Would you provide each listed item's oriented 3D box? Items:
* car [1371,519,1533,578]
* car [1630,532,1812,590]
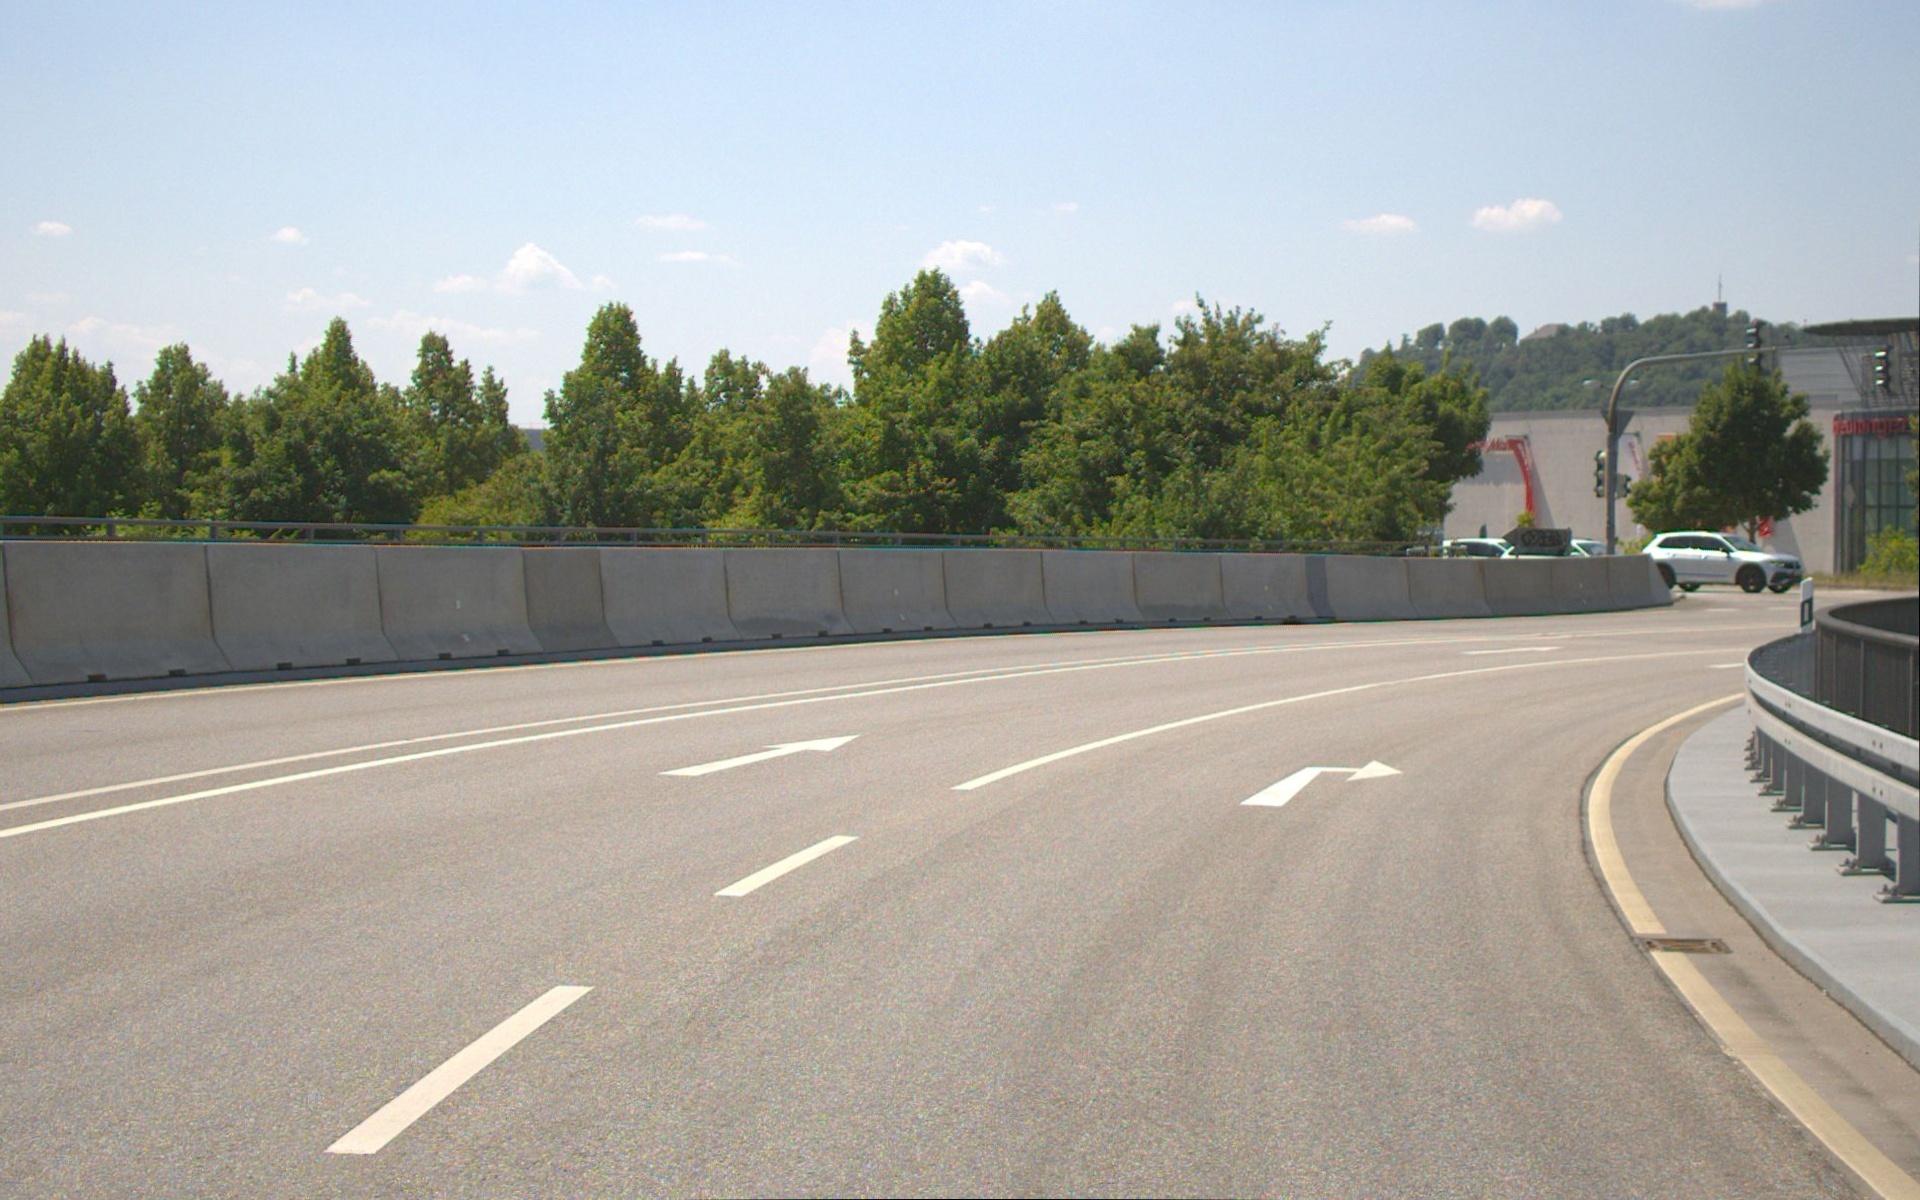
[{"bbox_3d":[14.190,-1.499,99.278,4.132,1.481,1.995,4,3,40],"label":"car"},{"bbox_3d":[20.676,-1.078,93.449,4.392,1.500,1.995,1,0,41],"label":"car"}]
